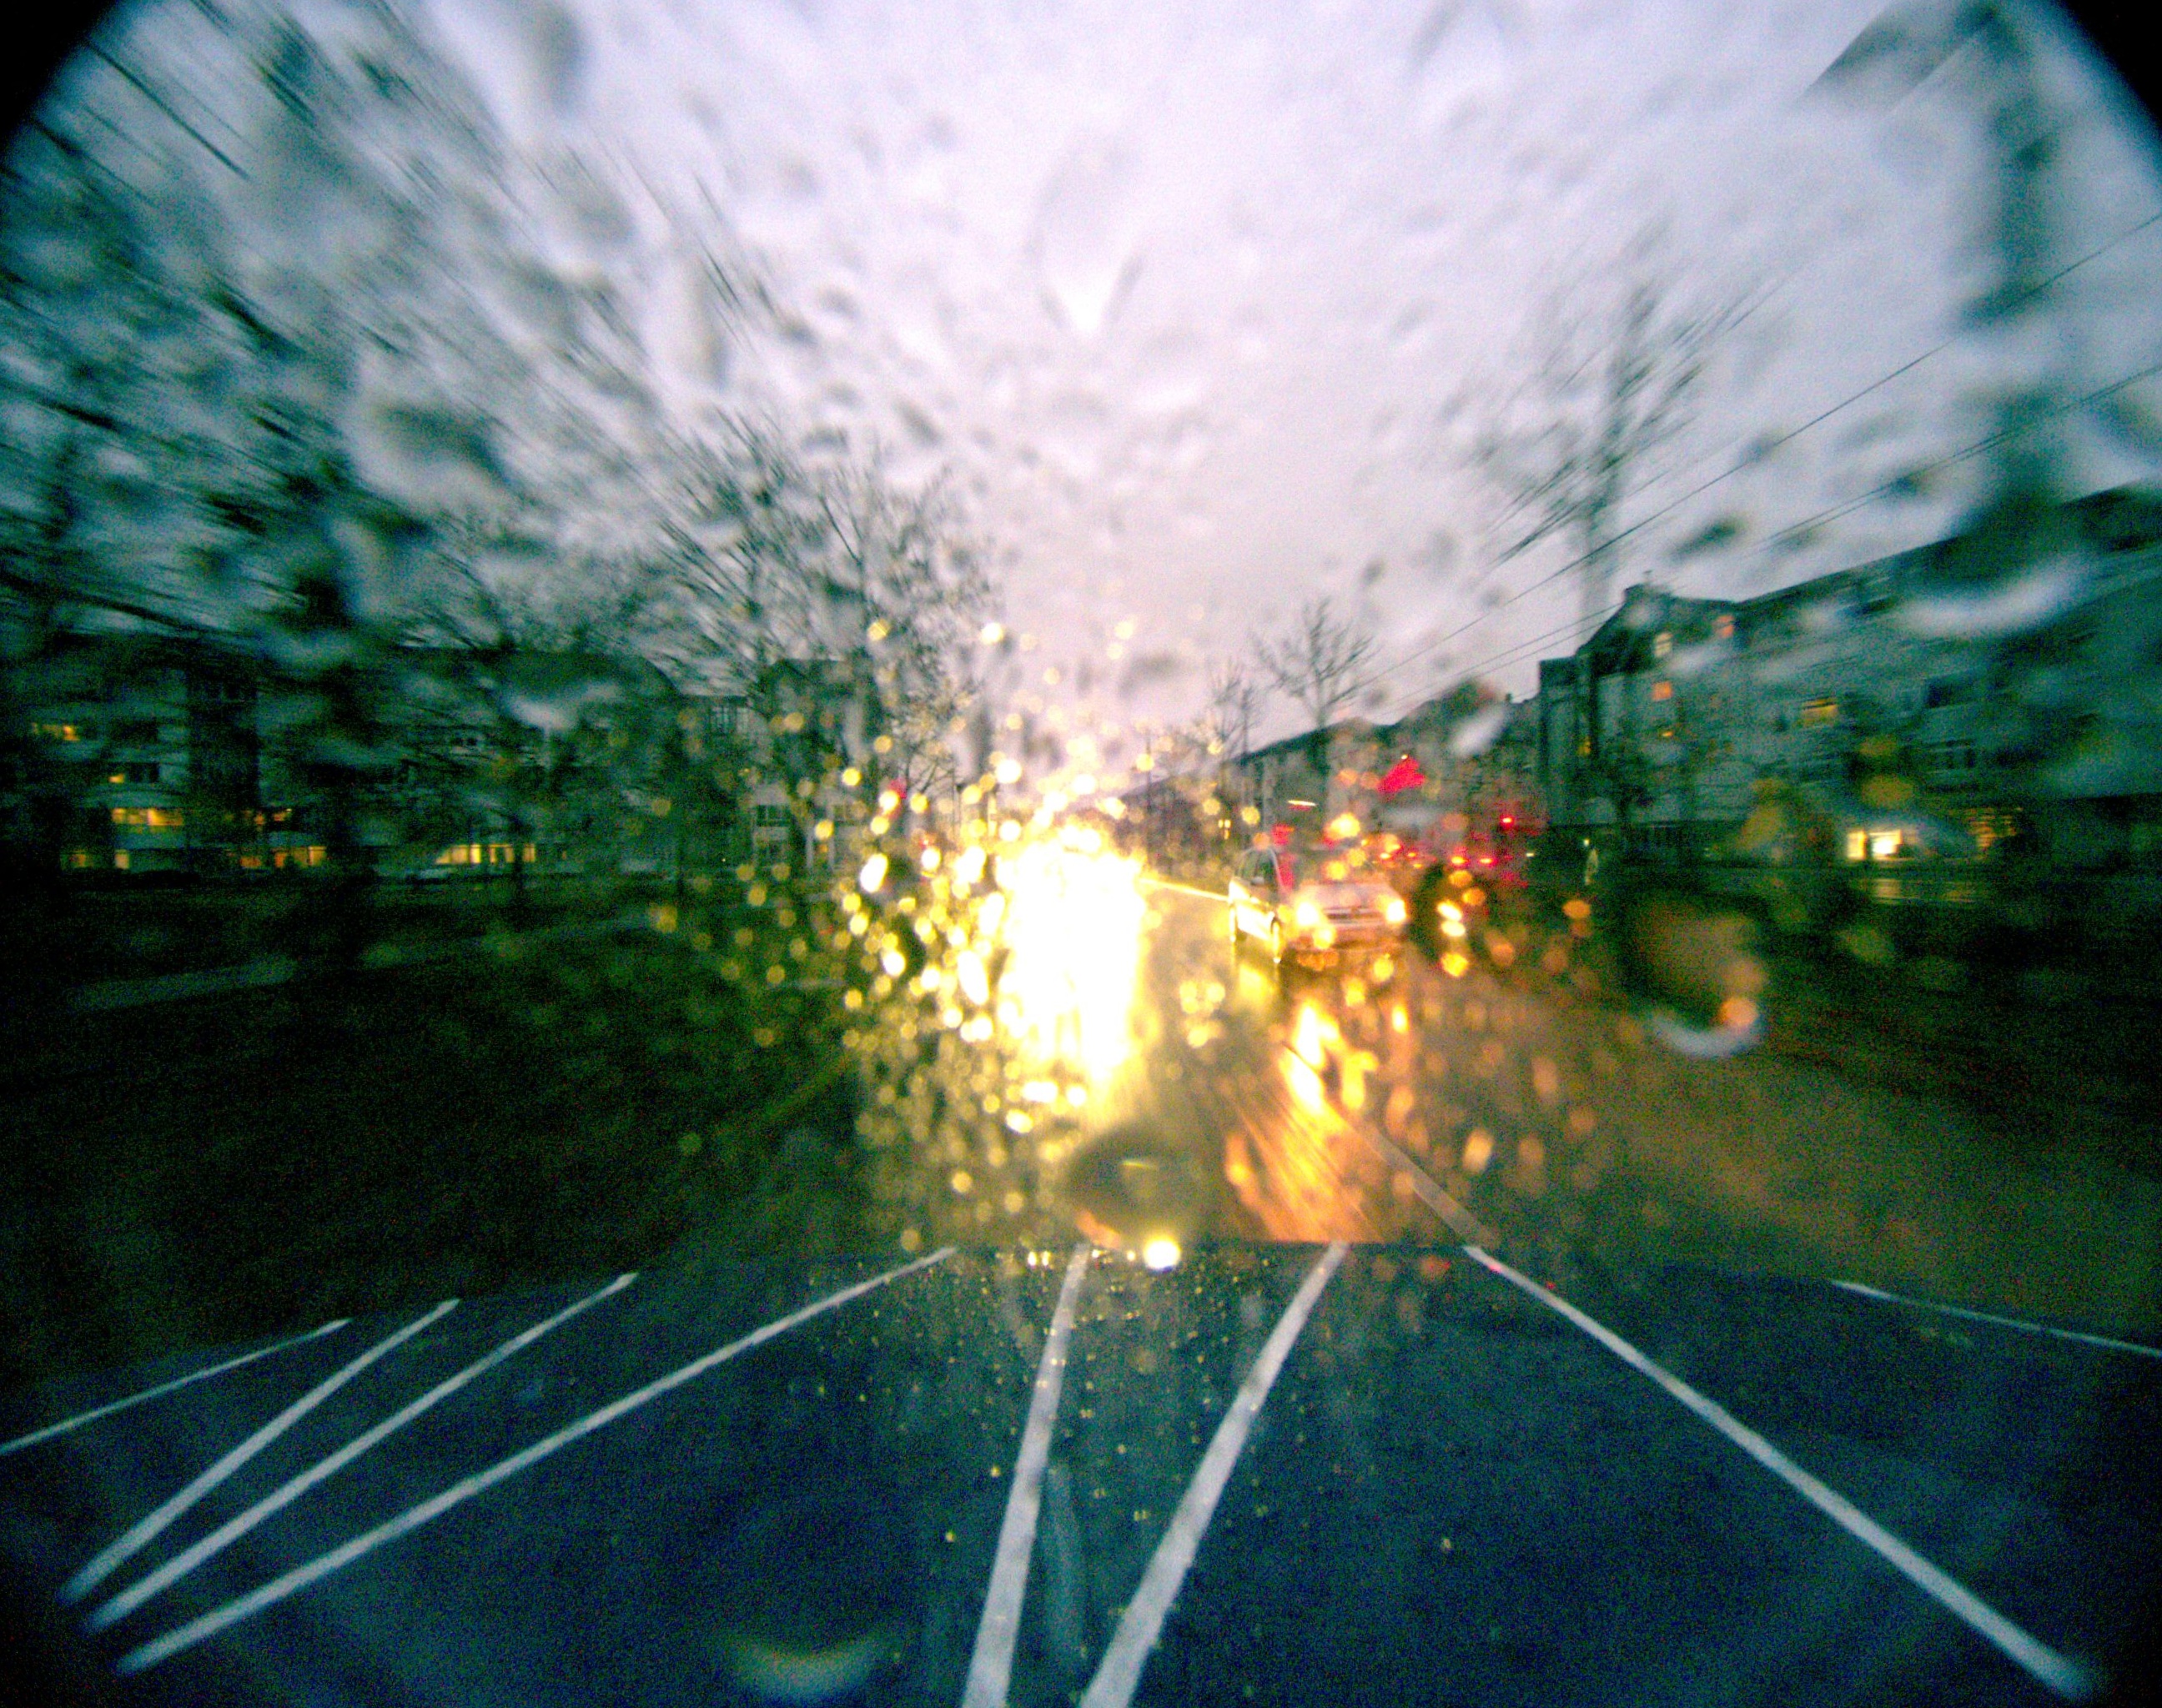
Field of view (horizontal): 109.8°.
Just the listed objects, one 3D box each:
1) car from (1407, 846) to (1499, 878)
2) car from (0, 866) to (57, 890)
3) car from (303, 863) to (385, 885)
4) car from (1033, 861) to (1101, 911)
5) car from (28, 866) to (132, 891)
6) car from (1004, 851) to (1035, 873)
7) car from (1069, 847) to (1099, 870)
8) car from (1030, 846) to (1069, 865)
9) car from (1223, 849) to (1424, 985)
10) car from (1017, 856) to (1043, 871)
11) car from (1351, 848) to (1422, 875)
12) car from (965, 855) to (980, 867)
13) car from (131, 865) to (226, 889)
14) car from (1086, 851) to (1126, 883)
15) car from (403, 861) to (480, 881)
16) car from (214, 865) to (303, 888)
[{"bbox_3d":[16.924,0.357,34.832,1.897,1.347,4.287,-1,0,-4],"label":"car"},{"bbox_3d":[-77.336,1.736,54.575,4.167,1.622,1.997,-1,0,-15],"label":"car"},{"bbox_3d":[-57.676,1.551,59.542,4.150,1.622,1.997,-1,0,-15],"label":"car"},{"bbox_3d":[-0.535,0.936,23.842,1.897,1.347,4.287,-1,0,-4],"label":"car"},{"bbox_3d":[-72.927,1.771,55.425,4.167,1.622,1.997,-1,0,-15],"label":"car"},{"bbox_3d":[-4.551,0.553,55.826,1.951,1.546,4.213,-1,0,-8],"label":"car"},{"bbox_3d":[0.168,0.320,56.282,1.845,1.546,4.215,-3,0,-4],"label":"car"},{"bbox_3d":[-3.296,0.146,79.111,2.331,1.846,4.664,-1,0,-26],"label":"car"},{"bbox_3d":[3.227,0.734,10.929,1.669,1.566,3.922,-1,1,1],"label":"car"},{"bbox_3d":[-4.870,0.840,72.158,1.899,1.347,4.284,-1,0,-12],"label":"car"},{"bbox_3d":[16.428,0.362,41.103,1.897,1.347,4.287,-1,0,-3],"label":"car"},{"bbox_3d":[-15.073,1.010,105.246,1.951,1.546,4.214,-3,0,-8],"label":"car"},{"bbox_3d":[-67.682,1.711,57.038,4.167,1.622,1.997,-1,0,-15],"label":"car"},{"bbox_3d":[1.270,0.671,40.849,1.924,1.546,4.216,-3,0,0],"label":"car"},{"bbox_3d":[-50.267,1.325,59.808,4.167,1.430,1.901,-1,0,-15],"label":"car"},{"bbox_3d":[-63.031,1.697,58.311,4.167,1.622,1.997,-1,0,-15],"label":"car"}]
